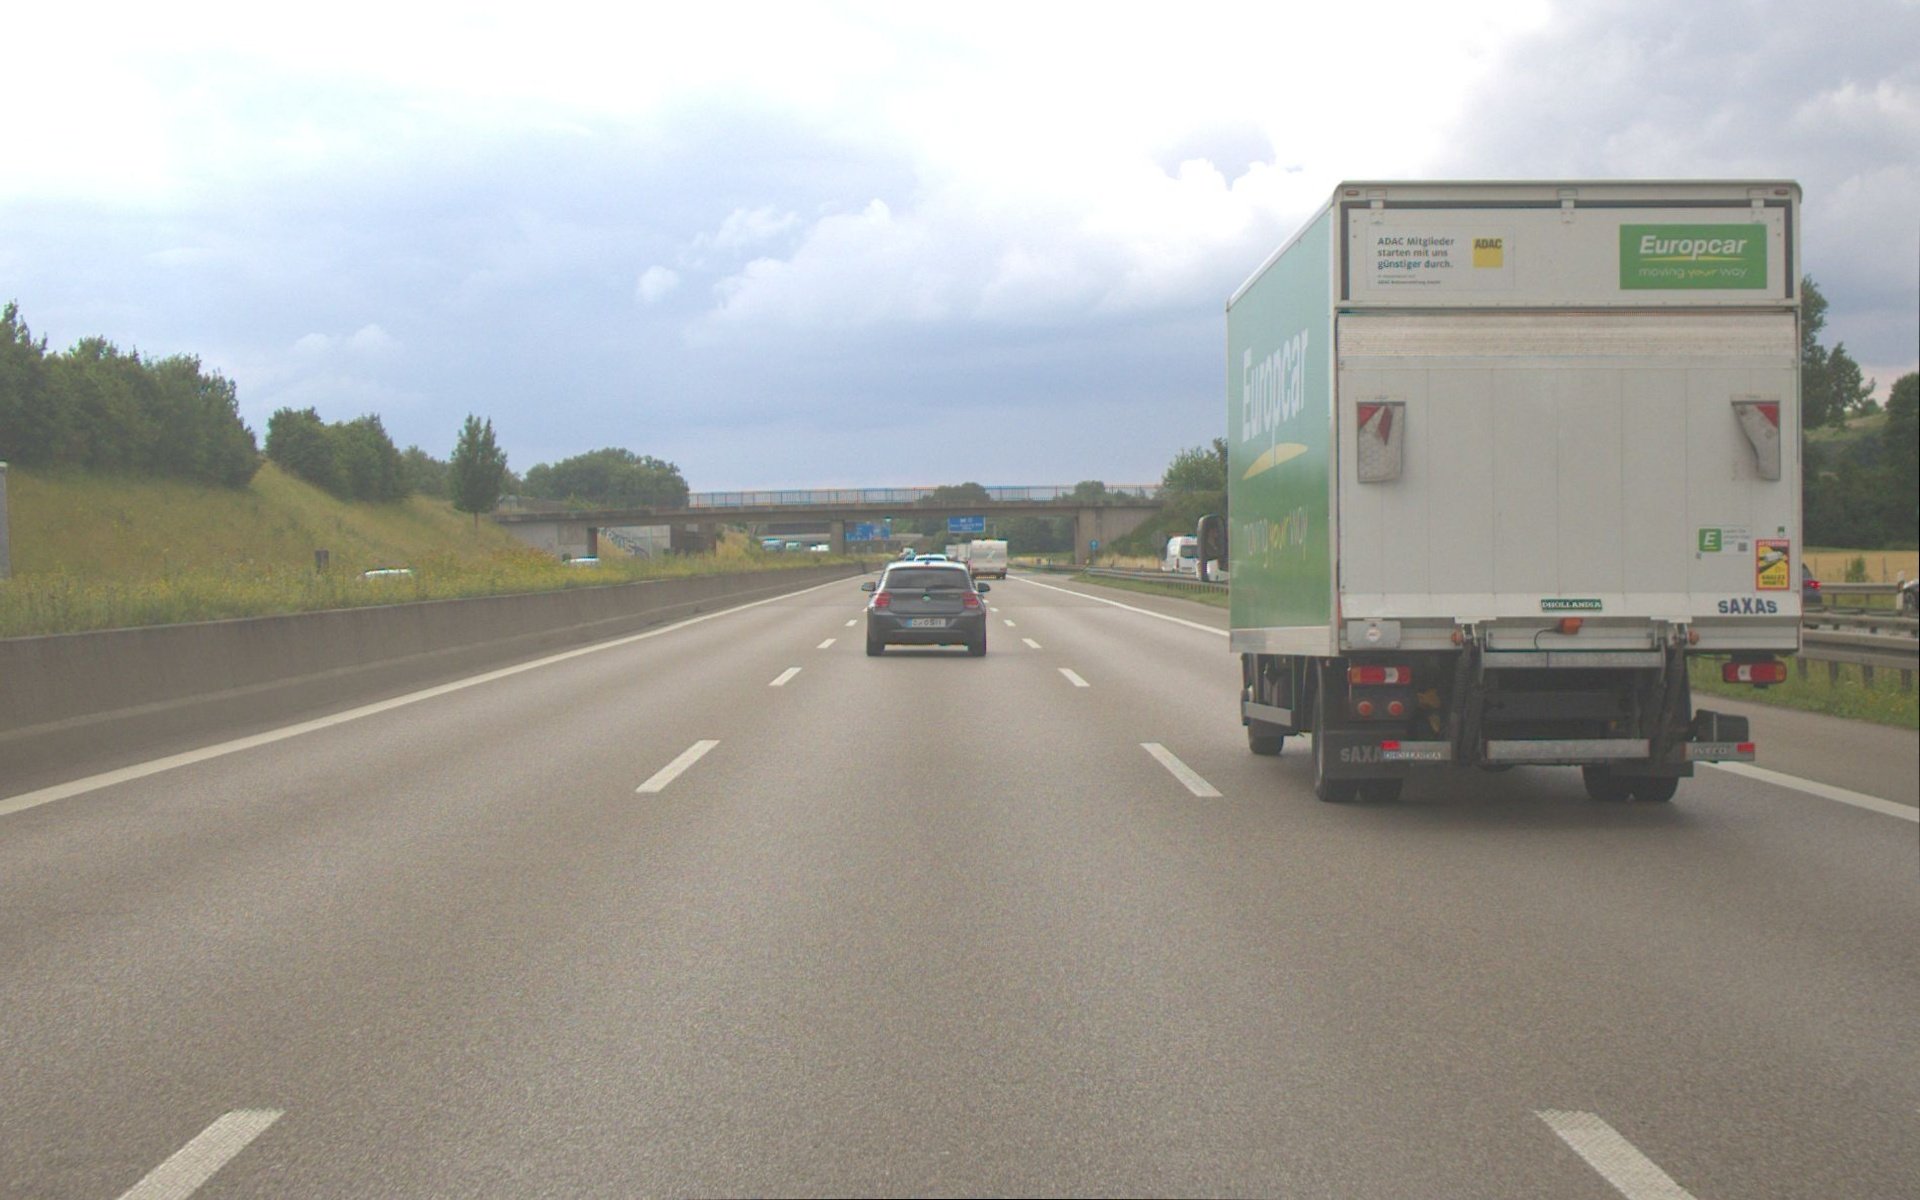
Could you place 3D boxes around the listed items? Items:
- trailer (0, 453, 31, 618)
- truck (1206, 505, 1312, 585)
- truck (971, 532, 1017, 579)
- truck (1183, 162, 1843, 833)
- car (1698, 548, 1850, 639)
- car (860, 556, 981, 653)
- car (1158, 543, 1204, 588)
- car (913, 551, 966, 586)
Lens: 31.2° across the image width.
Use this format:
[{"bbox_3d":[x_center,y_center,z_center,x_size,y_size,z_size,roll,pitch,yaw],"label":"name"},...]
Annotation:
[{"bbox_3d":[-20.906,-1.247,65.541,2.820,3.365,13.511,-1,1,0],"label":"trailer"},{"bbox_3d":[13.467,-2.471,155.494,3.104,3.459,8.893,1,0,-6],"label":"truck"},{"bbox_3d":[2.176,-2.919,225.880,2.710,2.954,12.447,1,0,-1],"label":"truck"},{"bbox_3d":[3.199,-0.598,22.598,2.770,3.492,9.062,1,1,0],"label":"truck"},{"bbox_3d":[16.449,-0.155,69.735,1.828,1.751,5.066,-1,1,0],"label":"car"},{"bbox_3d":[-0.592,0.037,51.783,1.743,1.384,4.000,1,1,0],"label":"car"},{"bbox_3d":[12.740,-2.015,198.635,2.221,2.559,6.256,0,1,0],"label":"car"},{"bbox_3d":[-0.809,-1.234,133.315,1.993,1.294,4.000,-1,0,-1],"label":"car"}]
